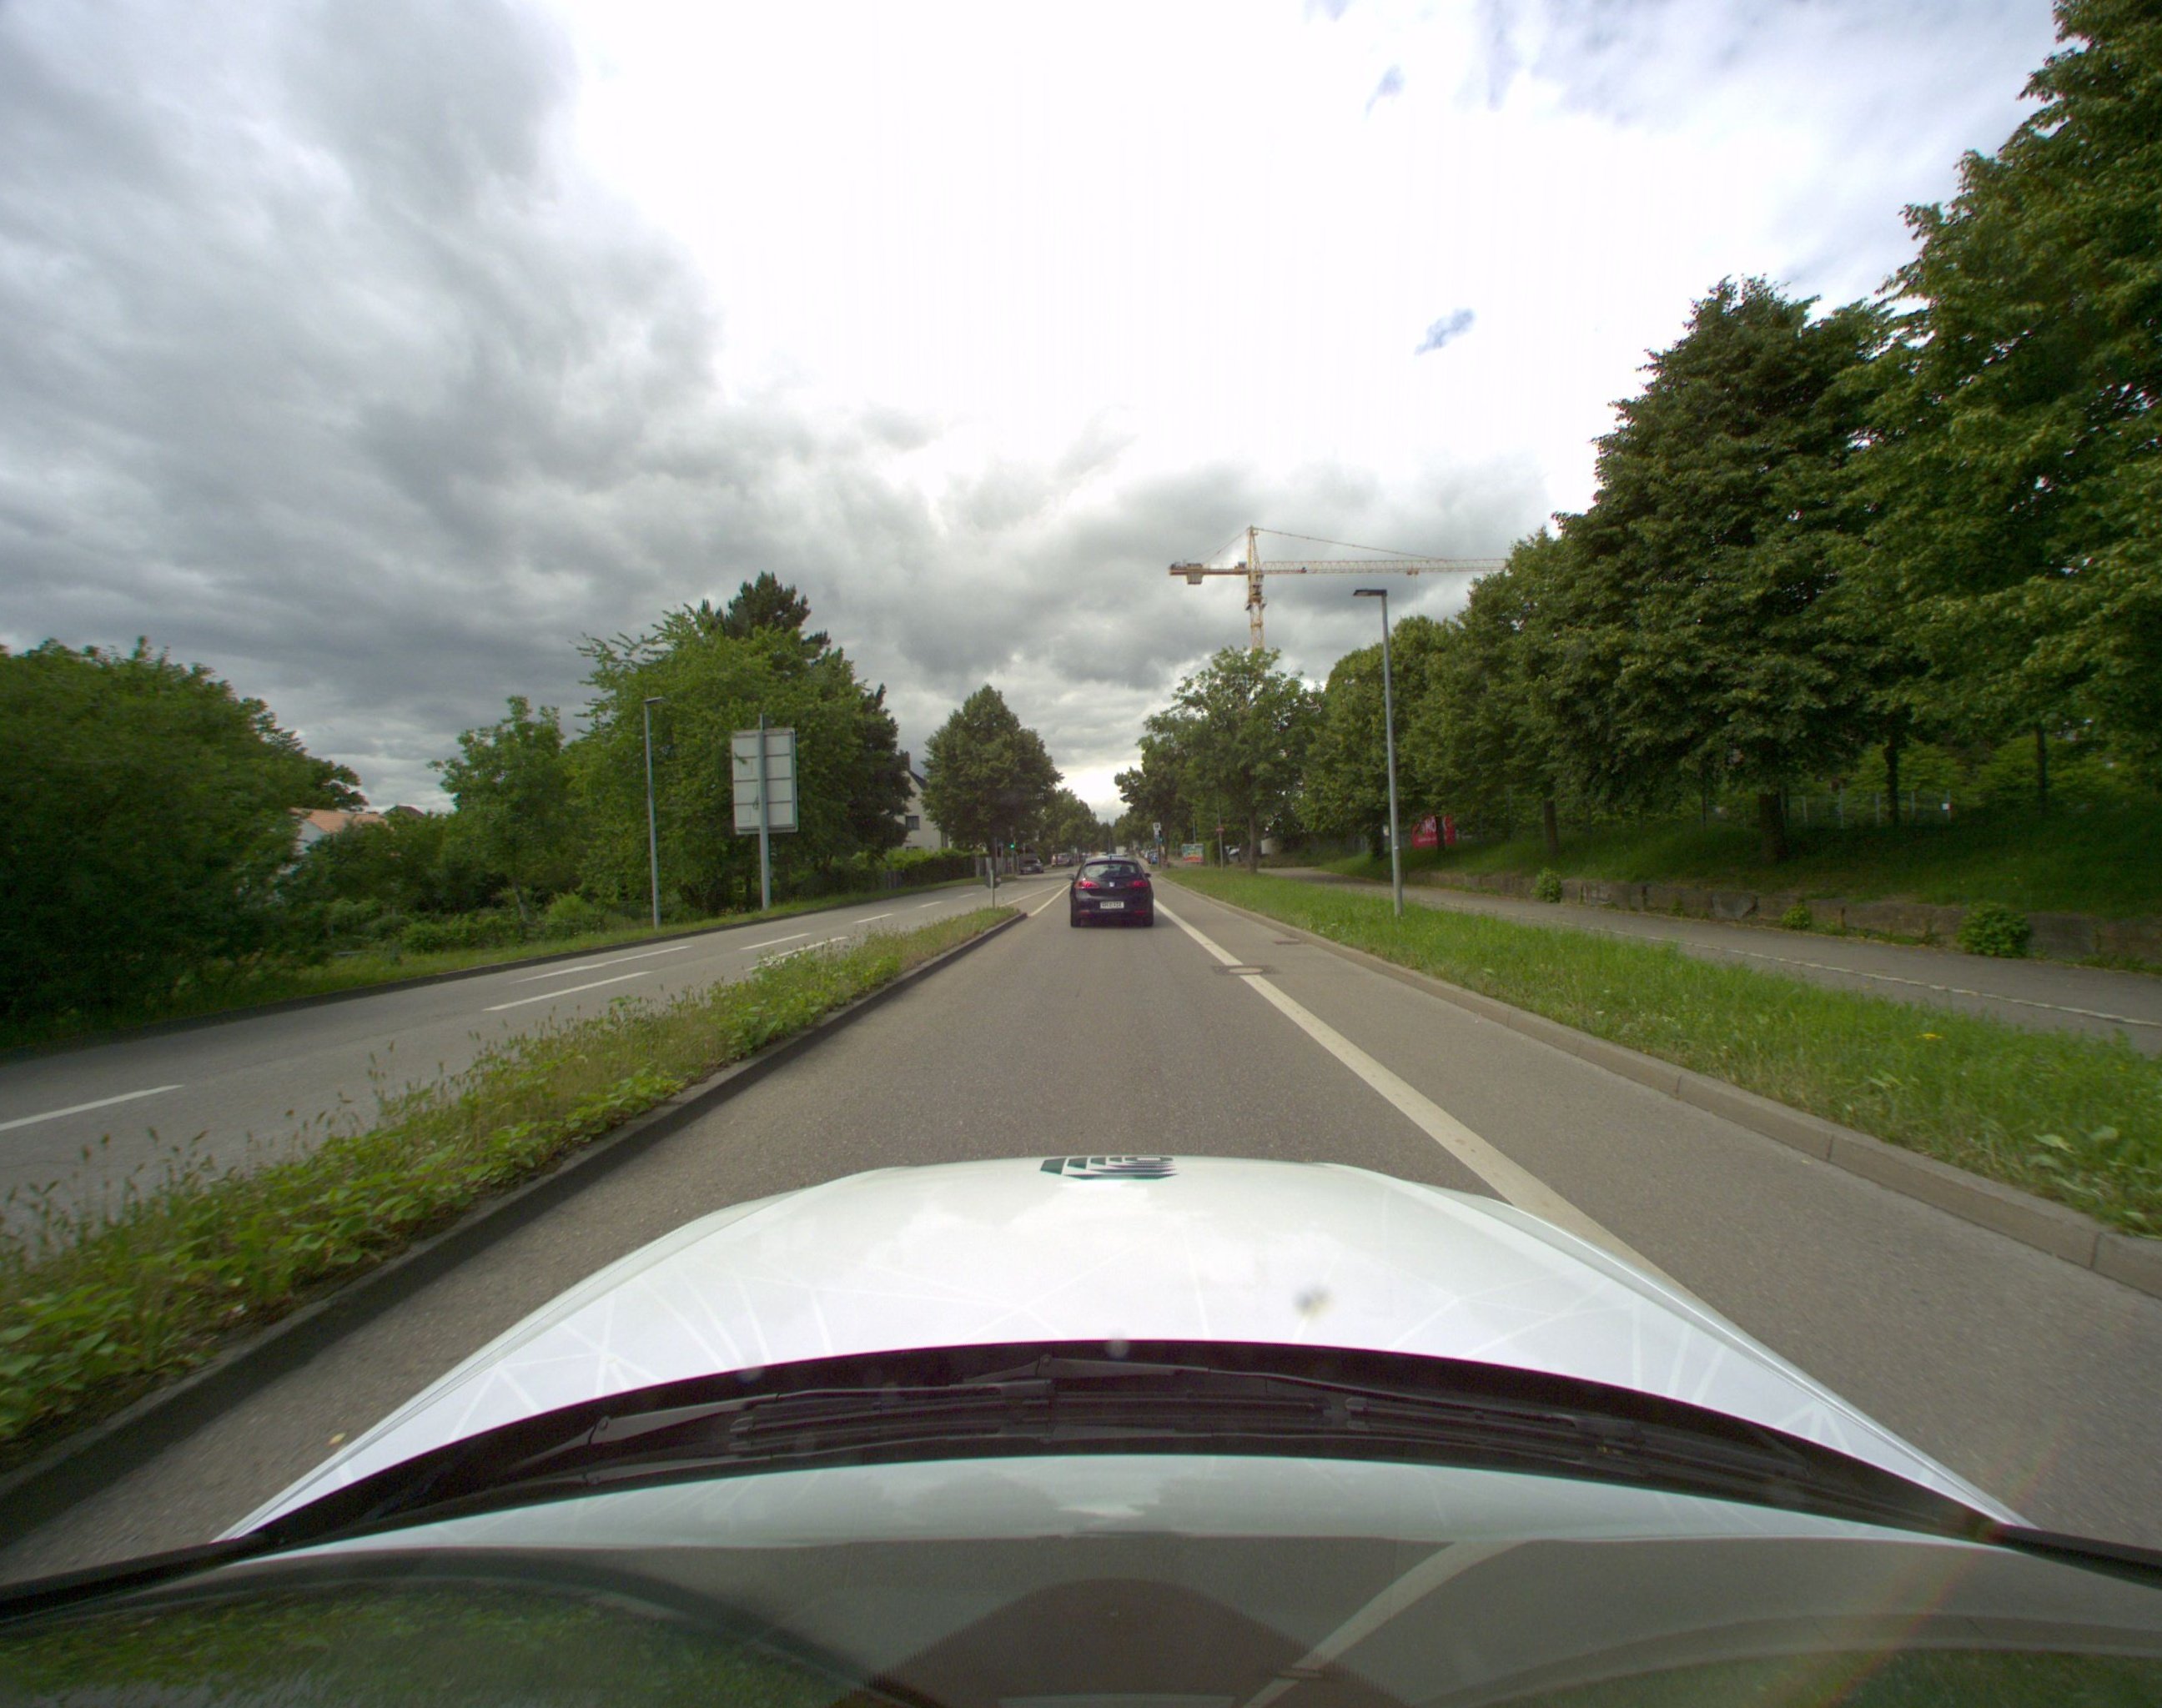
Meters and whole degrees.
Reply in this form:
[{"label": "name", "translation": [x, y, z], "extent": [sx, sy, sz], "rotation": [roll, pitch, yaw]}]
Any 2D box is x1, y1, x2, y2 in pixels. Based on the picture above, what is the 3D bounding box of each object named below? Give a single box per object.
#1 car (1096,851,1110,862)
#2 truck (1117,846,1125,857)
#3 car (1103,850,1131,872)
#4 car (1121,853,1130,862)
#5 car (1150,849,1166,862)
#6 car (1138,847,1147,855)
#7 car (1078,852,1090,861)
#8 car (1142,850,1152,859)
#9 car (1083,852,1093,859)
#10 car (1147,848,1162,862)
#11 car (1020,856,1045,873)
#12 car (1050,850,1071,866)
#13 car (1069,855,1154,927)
[{"label": "car", "translation": [3.638, 0.460, 132.105], "extent": [1.866, 1.634, 4.346], "rotation": [-4, 0, 5]}, {"label": "truck", "translation": [11.462, -0.700, 235.549], "extent": [2.270, 3.104, 8.516], "rotation": [-1, 0, 2]}, {"label": "car", "translation": [2.667, 0.500, 59.731], "extent": [1.837, 1.510, 3.817], "rotation": [-1, 0, 5]}, {"label": "car", "translation": [8.900, 0.627, 162.872], "extent": [1.873, 1.689, 4.217], "rotation": [-2, 0, 3]}, {"label": "car", "translation": [9.454, 0.215, 100.272], "extent": [1.681, 1.490, 3.357], "rotation": [-2, 0, 3]}, {"label": "car", "translation": [13.034, -0.592, 173.303], "extent": [1.681, 1.564, 4.217], "rotation": [-2, 0, 3]}, {"label": "car", "translation": [0.587, 0.483, 163.530], "extent": [2.091, 1.506, 5.788], "rotation": [-4, 0, 3]}, {"label": "car", "translation": [12.076, 0.020, 148.684], "extent": [1.681, 1.564, 4.217], "rotation": [-2, 0, 3]}, {"label": "car", "translation": [1.636, 0.412, 196.365], "extent": [2.091, 1.506, 5.788], "rotation": [-4, 0, 3]}, {"label": "car", "translation": [9.479, 0.086, 105.457], "extent": [1.681, 1.711, 4.217], "rotation": [-2, 0, 3]}, {"label": "car", "translation": [-4.543, 0.990, 77.185], "extent": [1.711, 1.395, 4.805], "rotation": [-4, 0, 3]}, {"label": "car", "translation": [-2.639, 0.520, 106.188], "extent": [2.091, 1.896, 5.788], "rotation": [-4, 0, 3]}, {"label": "car", "translation": [0.670, 0.742, 18.027], "extent": [1.656, 1.401, 3.813], "rotation": [-1, 0, 2]}]
